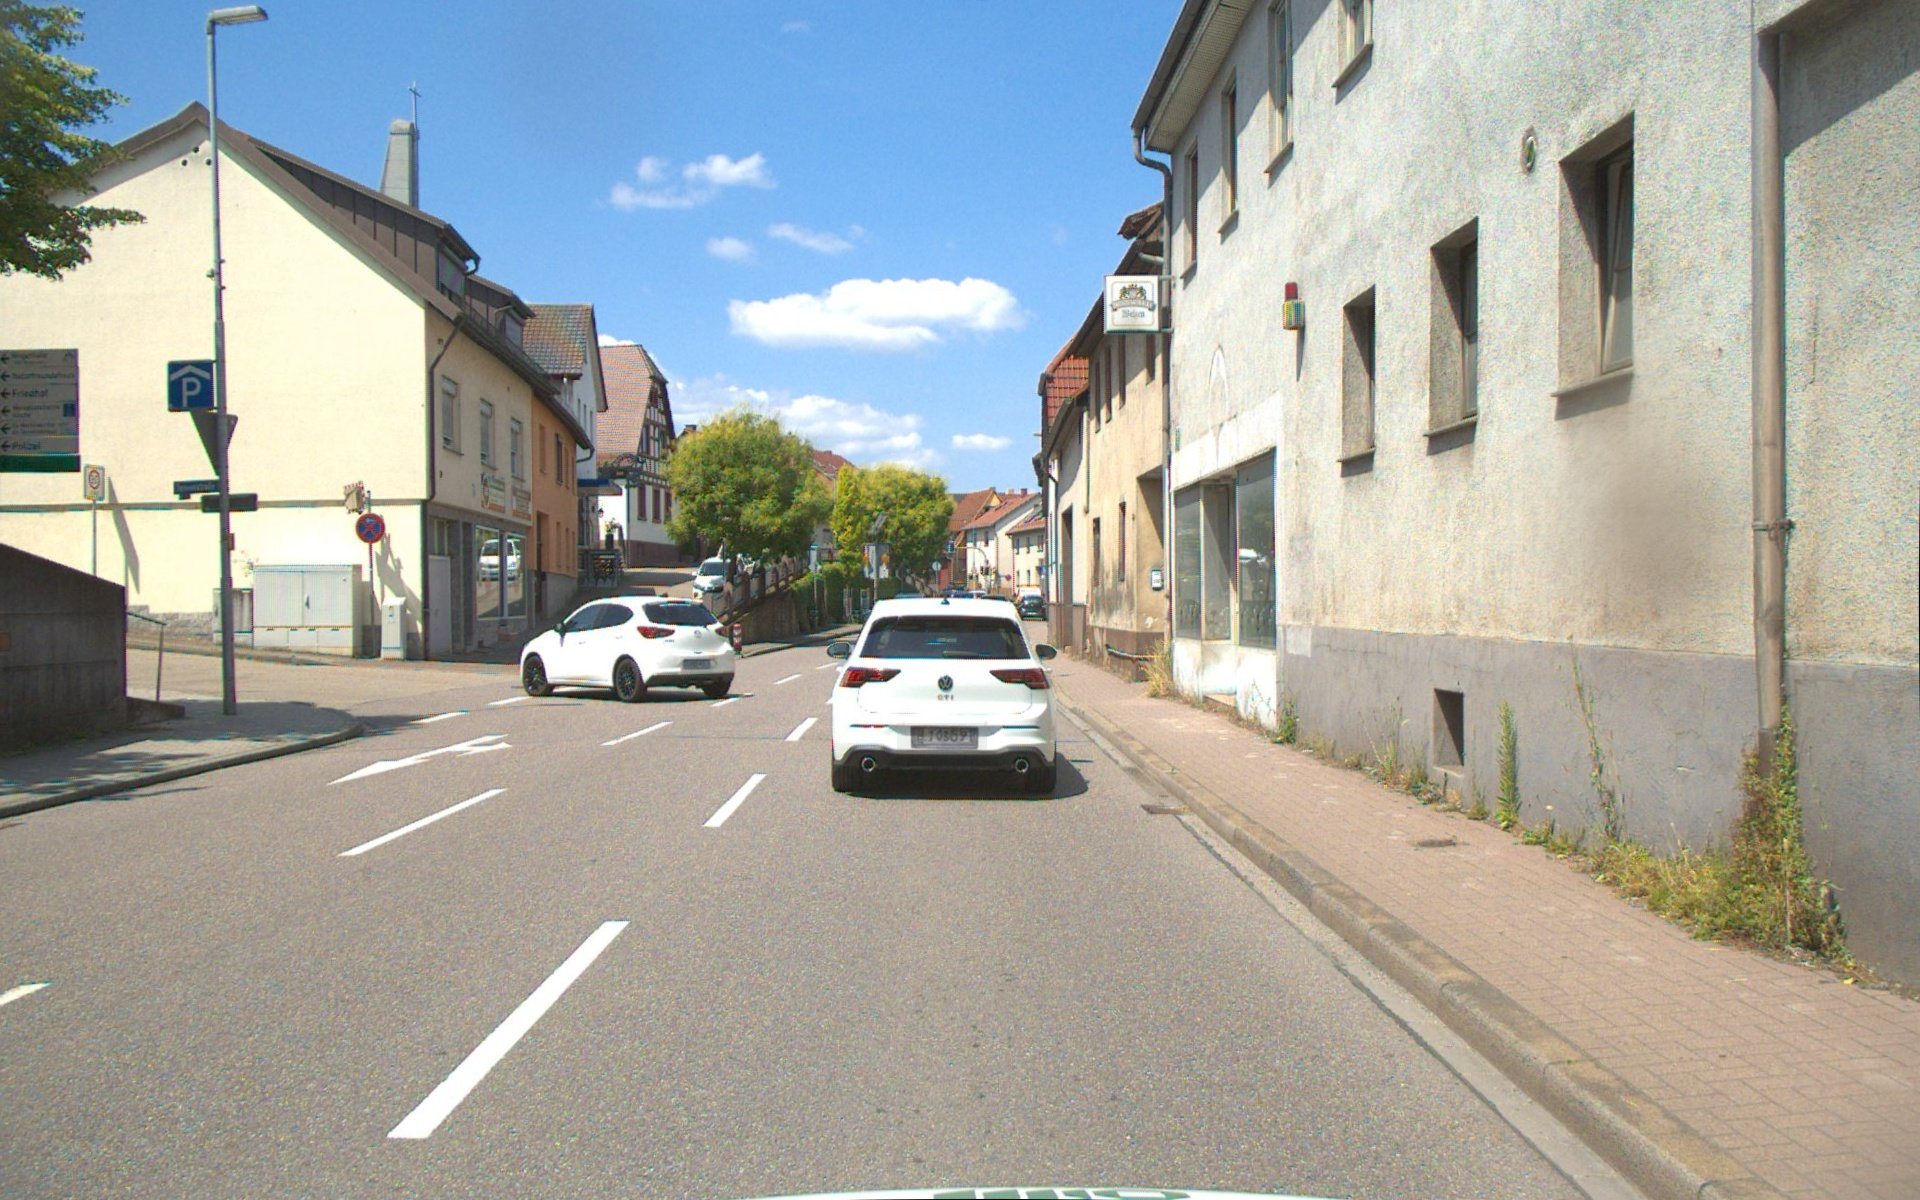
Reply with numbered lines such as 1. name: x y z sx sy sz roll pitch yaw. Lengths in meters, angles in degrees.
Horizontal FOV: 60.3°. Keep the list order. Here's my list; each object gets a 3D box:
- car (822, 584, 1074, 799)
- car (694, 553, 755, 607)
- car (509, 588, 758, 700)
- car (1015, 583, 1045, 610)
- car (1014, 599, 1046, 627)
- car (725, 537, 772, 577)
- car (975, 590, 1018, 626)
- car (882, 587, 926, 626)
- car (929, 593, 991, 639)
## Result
1. car: -0.056 0.655 13.796 1.770 1.493 4.000 1 0 1
2. car: -8.257 -0.734 58.227 1.659 1.569 3.857 0 6 -1
3. car: -4.929 0.602 24.667 1.800 1.493 3.935 1 0 -44
4. car: 4.843 -0.270 114.376 1.737 1.796 4.003 0 0 7
5. car: 4.181 0.750 98.714 1.738 1.565 4.002 0 0 4
6. car: -8.972 -1.840 70.377 1.544 1.385 3.857 0 6 -1
7. car: 1.684 0.359 75.129 1.738 1.565 4.002 0 0 5
8. car: -2.536 0.278 75.869 1.721 1.664 4.050 -1 0 2
9. car: 0.025 0.544 56.879 1.769 1.493 4.002 1 0 5
